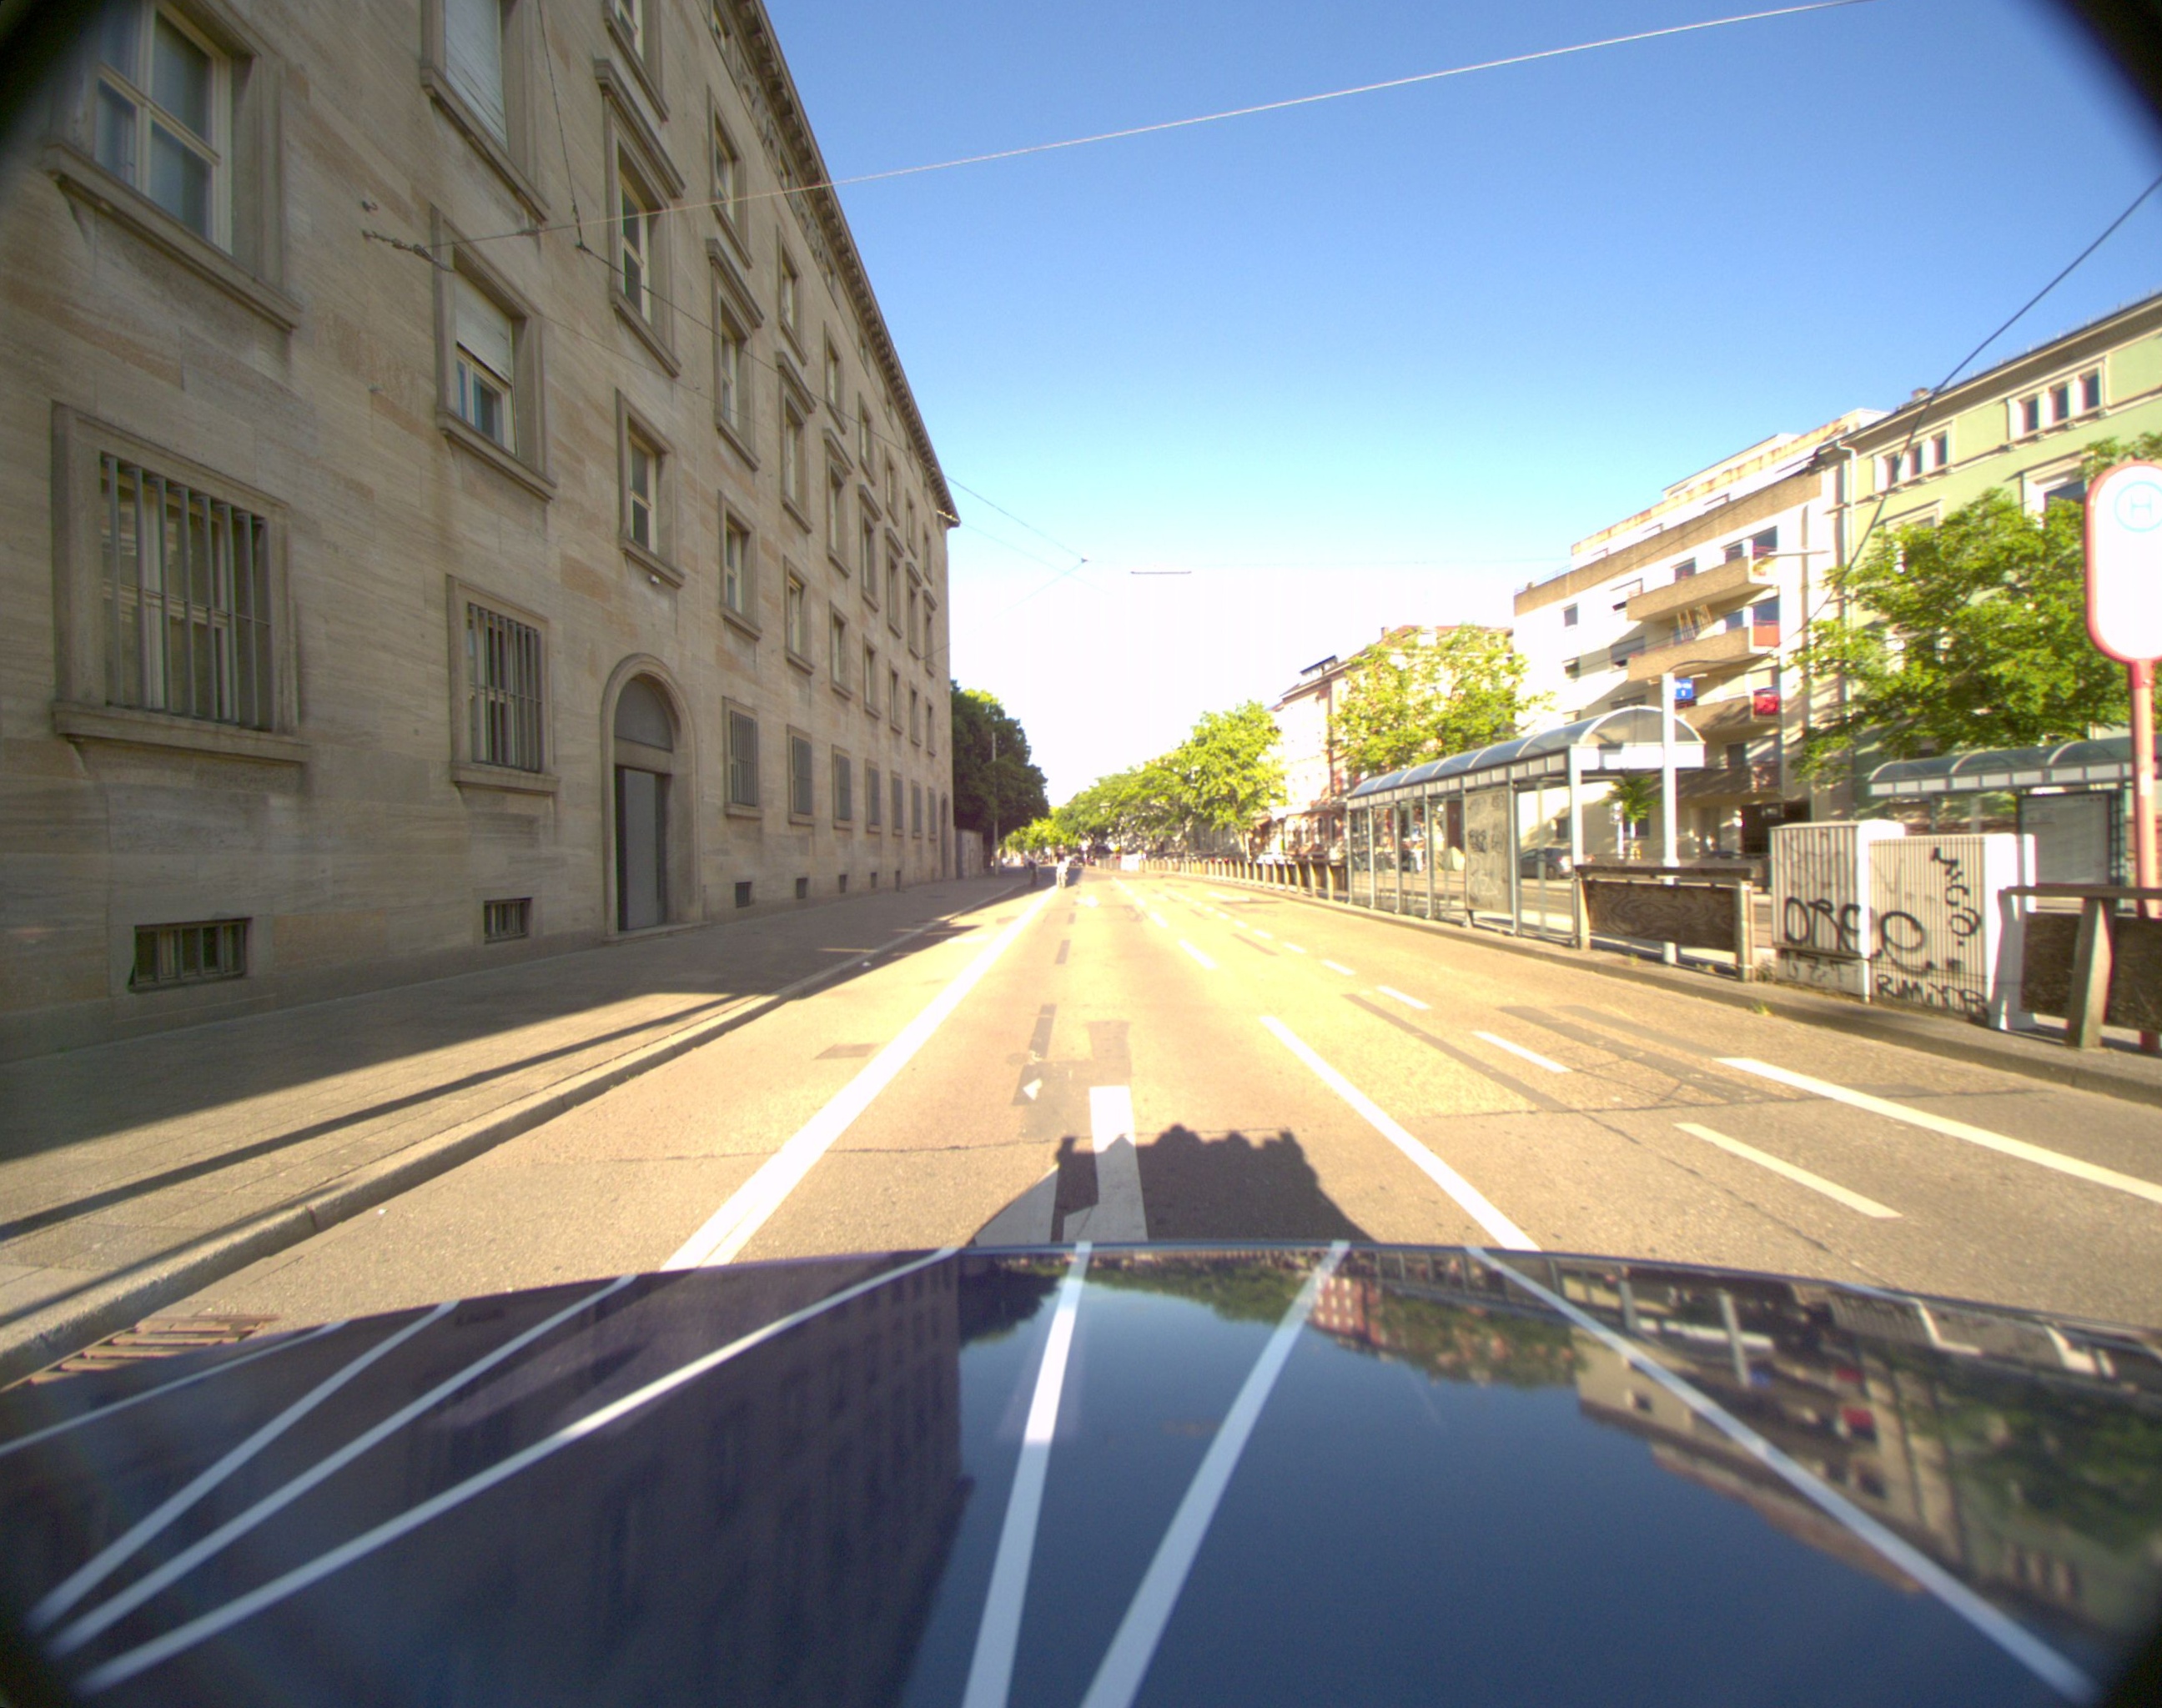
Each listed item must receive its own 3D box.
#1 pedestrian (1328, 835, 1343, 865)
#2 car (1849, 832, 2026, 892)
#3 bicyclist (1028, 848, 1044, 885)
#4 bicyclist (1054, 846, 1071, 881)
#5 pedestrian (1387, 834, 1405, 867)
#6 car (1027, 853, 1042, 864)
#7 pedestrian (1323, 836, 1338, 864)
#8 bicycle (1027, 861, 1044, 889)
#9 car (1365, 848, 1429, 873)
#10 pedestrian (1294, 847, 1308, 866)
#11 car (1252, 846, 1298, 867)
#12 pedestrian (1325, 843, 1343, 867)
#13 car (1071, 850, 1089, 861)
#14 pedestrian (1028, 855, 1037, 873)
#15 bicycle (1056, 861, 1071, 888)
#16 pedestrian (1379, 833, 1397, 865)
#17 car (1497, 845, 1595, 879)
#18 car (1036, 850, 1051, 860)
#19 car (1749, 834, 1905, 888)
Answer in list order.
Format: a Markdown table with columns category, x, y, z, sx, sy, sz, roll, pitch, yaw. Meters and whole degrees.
| category | x | y | z | sx | sy | sz | roll | pitch | yaw |
| --- | --- | --- | --- | --- | --- | --- | --- | --- | --- |
| pedestrian | 19.341 | -0.307 | 57.777 | 0.813 | 2.194 | 0.756 | -1 | 1 | -10 |
| car | 24.638 | 0.199 | 21.884 | 4.002 | 1.573 | 1.761 | -1 | 0 | -14 |
| bicyclist | -2.181 | 0.594 | 36.684 | 0.625 | 1.729 | 0.688 | -3 | 1 | 1 |
| bicyclist | -0.836 | 0.440 | 34.661 | 0.728 | 1.570 | 0.775 | 0 | 1 | 1 |
| pedestrian | 21.337 | -0.232 | 51.522 | 0.813 | 2.194 | 0.756 | -1 | 1 | -10 |
| car | -6.368 | 0.559 | 103.771 | 1.772 | 1.429 | 3.831 | -1 | 0 | -8 |
| pedestrian | 19.464 | -0.328 | 59.245 | 0.812 | 2.194 | 0.756 | -1 | 1 | -4 |
| bicycle | -2.163 | 0.994 | 36.579 | 0.625 | 1.214 | 1.659 | -3 | 1 | 1 |
| car | 18.492 | 0.349 | 44.663 | 1.609 | 1.388 | 3.996 | -1 | 0 | -9 |
| pedestrian | 18.684 | 0.185 | 64.546 | 0.866 | 1.619 | 0.893 | -1 | 1 | 31 |
| car | 16.225 | 0.200 | 63.578 | 4.134 | 1.698 | 1.848 | -1 | 1 | -45 |
| pedestrian | 18.430 | 0.044 | 55.312 | 0.855 | 1.710 | 1.019 | -1 | 1 | -9 |
| car | -0.152 | 0.168 | 106.315 | 1.648 | 1.480 | 3.995 | -2 | 1 | -12 |
| pedestrian | -3.775 | 0.767 | 58.883 | 0.548 | 1.327 | 0.587 | -1 | 1 | 7 |
| bicycle | -0.804 | 0.924 | 34.728 | 0.625 | 1.167 | 1.566 | 0 | 0 | 1 |
| pedestrian | 21.182 | -0.318 | 52.430 | 0.813 | 2.194 | 0.756 | -1 | 1 | -10 |
| car | 20.865 | 0.351 | 34.249 | 1.654 | 1.419 | 3.737 | -1 | 0 | -11 |
| car | -6.939 | 0.149 | 140.803 | 2.001 | 1.789 | 3.995 | -1 | 0 | -13 |
| car | 23.908 | 0.199 | 24.384 | 4.002 | 1.573 | 1.761 | -1 | 0 | -14 |
